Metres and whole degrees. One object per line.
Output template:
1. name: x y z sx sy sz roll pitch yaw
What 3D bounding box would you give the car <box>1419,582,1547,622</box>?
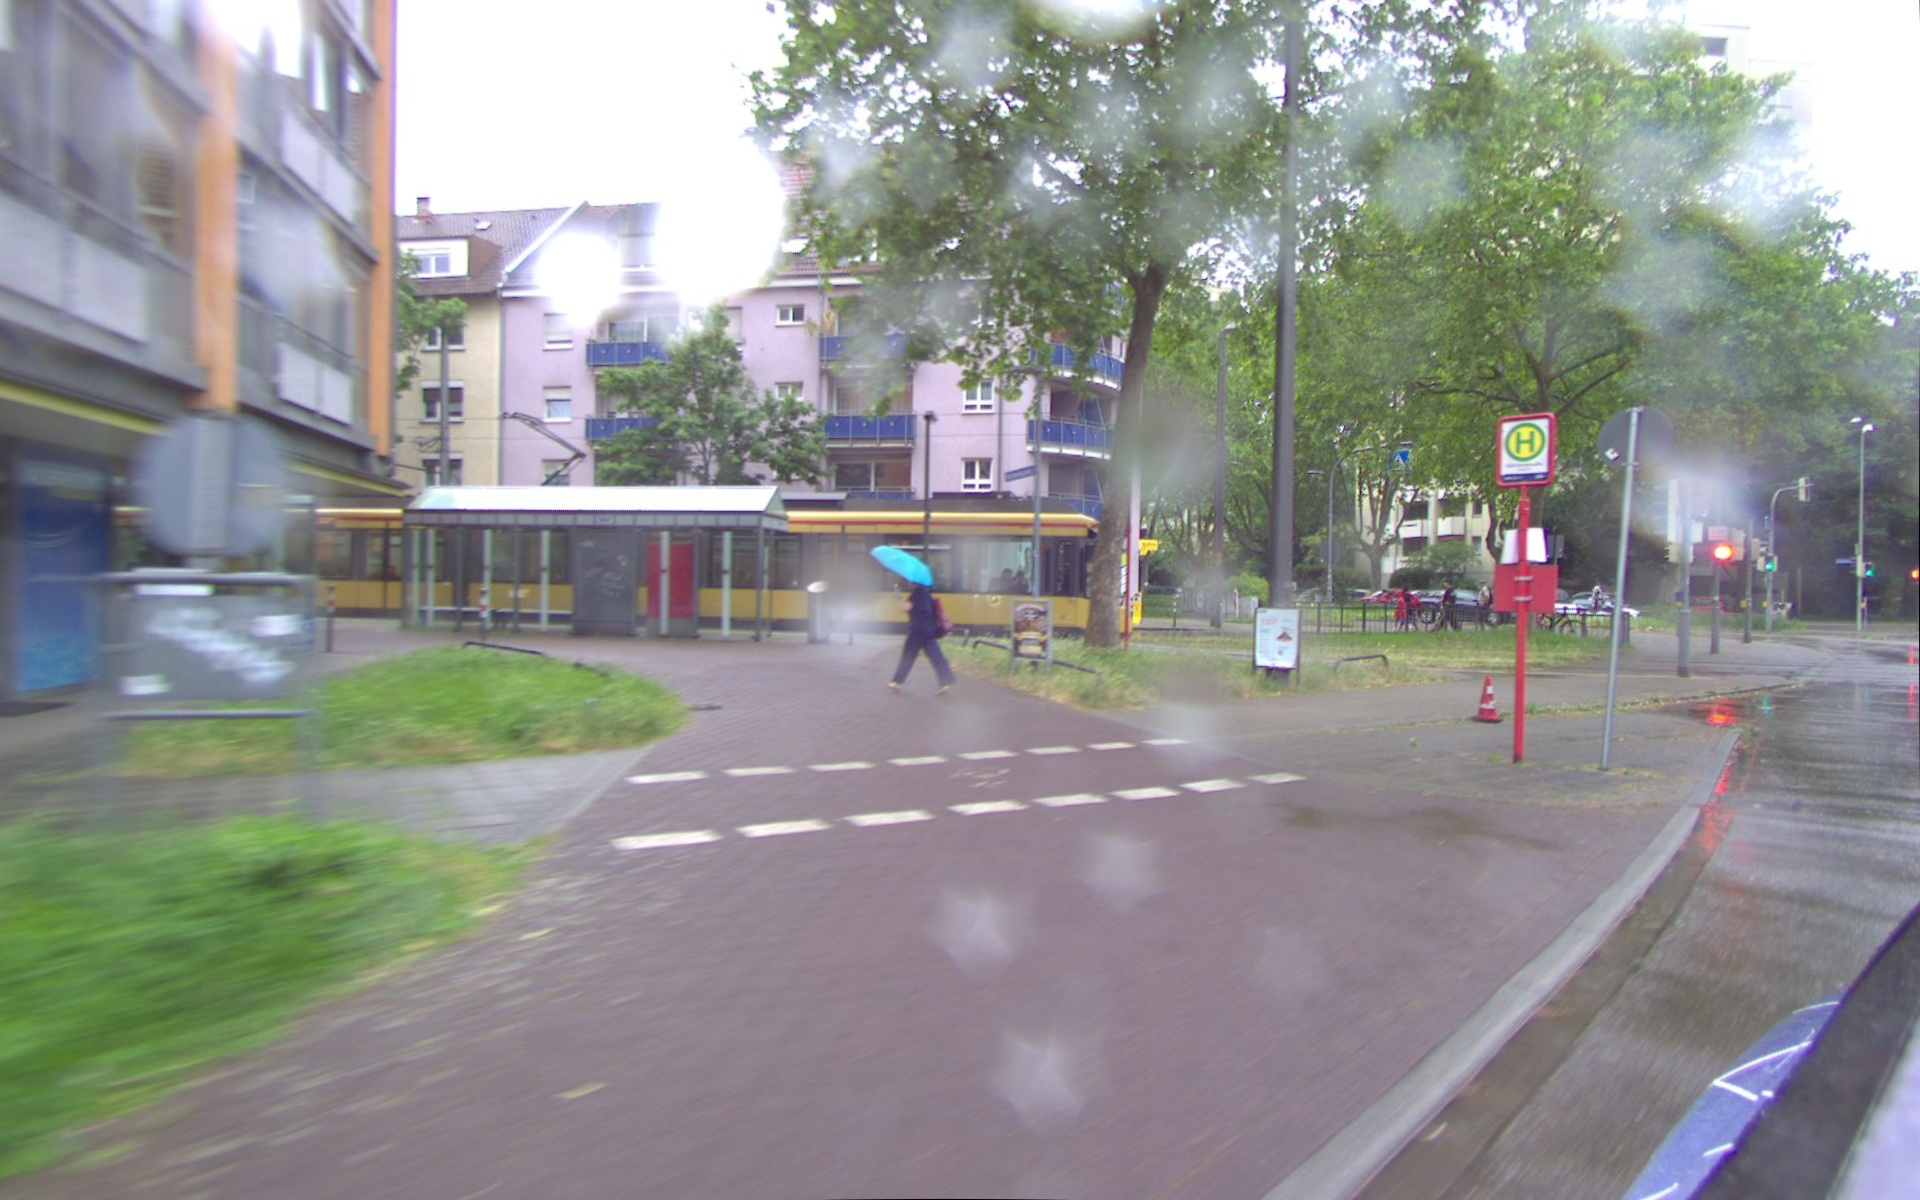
1. car: 21.066 0.053 40.894 1.960 1.479 4.171 1 1 -42

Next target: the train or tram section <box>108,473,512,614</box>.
1. train or tram section: -16.988 -1.496 26.552 9.829 3.393 2.638 1 1 11

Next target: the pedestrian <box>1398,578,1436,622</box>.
1. pedestrian: 15.181 -0.011 33.625 1.005 1.398 0.665 3 2 36

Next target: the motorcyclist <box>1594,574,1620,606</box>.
1. motorcyclist: 28.172 -0.422 44.072 0.744 1.368 0.754 1 1 -40

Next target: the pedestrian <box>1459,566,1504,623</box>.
1. pedestrian: 17.114 -0.177 33.222 0.796 1.803 0.995 1 2 -32

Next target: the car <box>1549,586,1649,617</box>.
1. car: 36.382 0.048 57.732 1.903 1.628 4.457 1 1 -34

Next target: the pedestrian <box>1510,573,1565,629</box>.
1. pedestrian: 18.188 0.019 31.904 0.975 1.707 1.058 1 1 -21

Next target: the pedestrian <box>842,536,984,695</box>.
1. pedestrian: -0.596 0.153 12.907 1.376 1.888 1.160 2 1 34

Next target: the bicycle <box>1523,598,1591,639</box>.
1. bicycle: 16.626 0.503 28.198 1.607 1.090 0.441 2 1 32

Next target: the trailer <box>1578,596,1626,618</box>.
1. trailer: 27.482 0.294 43.343 1.008 0.852 1.482 1 1 -38

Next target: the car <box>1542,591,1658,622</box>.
1. car: 29.323 0.286 46.421 1.871 1.291 4.162 0 1 -44

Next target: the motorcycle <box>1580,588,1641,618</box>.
1. motorcycle: 28.238 0.102 43.953 0.865 1.230 2.073 1 1 -39

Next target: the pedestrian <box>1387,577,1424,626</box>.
1. pedestrian: 14.601 0.038 33.216 1.052 1.544 0.872 1 1 22

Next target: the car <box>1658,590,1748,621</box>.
1. car: 39.370 0.281 53.653 1.808 1.544 3.460 1 1 -37

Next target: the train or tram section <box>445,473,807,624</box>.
1. train or tram section: -8.139 -1.274 24.929 8.244 3.393 2.638 1 1 11

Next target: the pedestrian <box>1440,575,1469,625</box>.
1. pedestrian: 16.012 -0.018 32.792 0.753 1.567 0.687 3 1 23

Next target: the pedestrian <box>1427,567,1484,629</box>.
1. pedestrian: 14.958 -0.082 30.579 1.020 1.811 1.234 1 1 -42

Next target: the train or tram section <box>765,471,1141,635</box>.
1. train or tram section: -0.084 -1.089 23.255 8.247 3.411 2.637 1 1 12
